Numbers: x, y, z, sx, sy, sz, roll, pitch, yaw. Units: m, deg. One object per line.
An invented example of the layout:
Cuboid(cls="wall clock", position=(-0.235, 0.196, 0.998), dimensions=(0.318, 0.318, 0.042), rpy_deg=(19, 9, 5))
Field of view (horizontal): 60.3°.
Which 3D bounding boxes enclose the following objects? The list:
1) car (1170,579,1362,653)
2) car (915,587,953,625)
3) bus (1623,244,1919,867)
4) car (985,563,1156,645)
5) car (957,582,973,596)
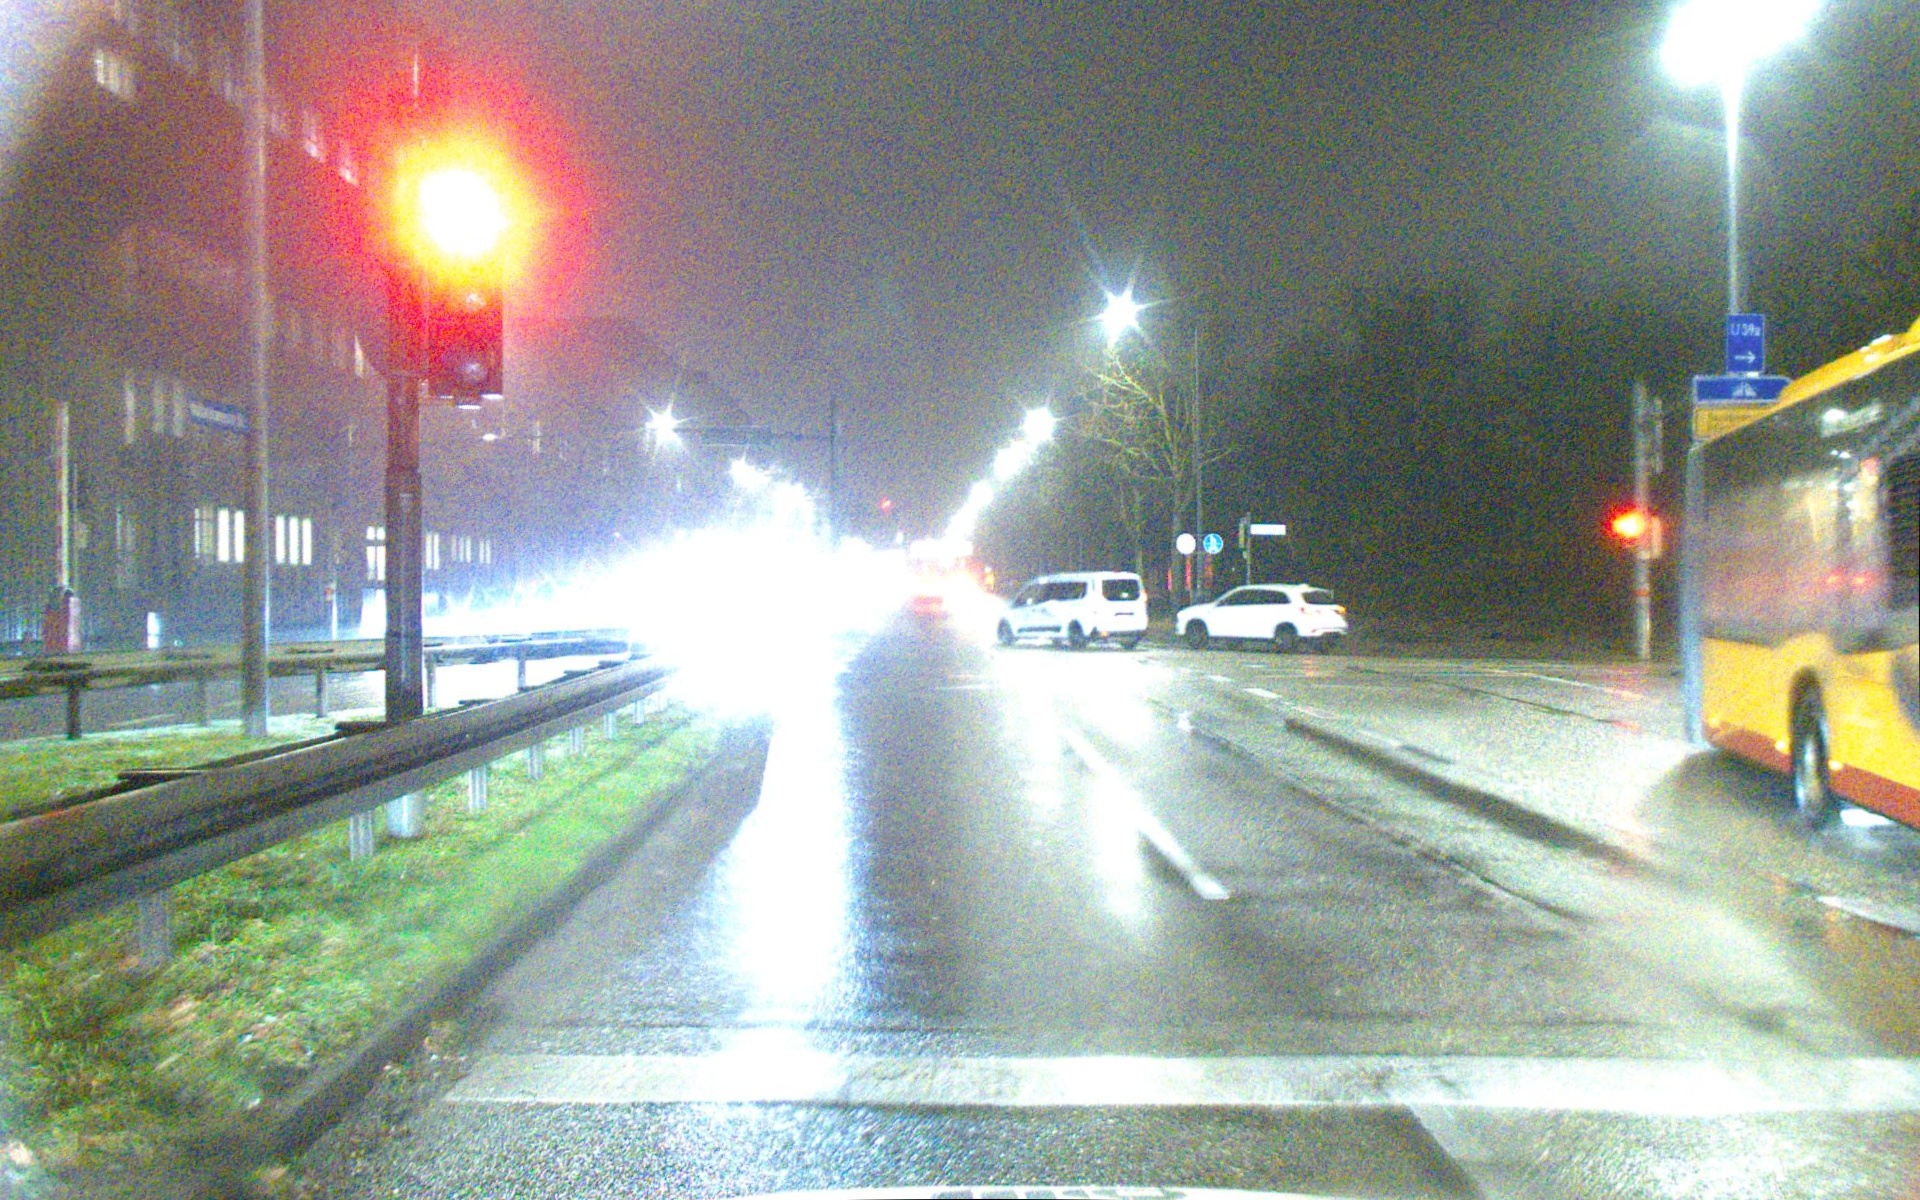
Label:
Cuboid(cls="car", position=(7.394, 0.359, 40.219), dimensions=(4.351, 1.708, 1.785), rpy_deg=(1, 0, 43))
Cuboid(cls="car", position=(-1.612, 0.368, 100.355), dimensions=(2.092, 2.182, 4.925), rpy_deg=(1, 0, -3))
Cuboid(cls="bus", position=(7.055, -0.231, 11.850), dimensions=(2.710, 3.178, 9.770), rpy_deg=(1, 0, 13))
Cuboid(cls="car", position=(2.671, 0.098, 40.961), dimensions=(1.775, 1.907, 4.571), rpy_deg=(1, 0, -34))
Cuboid(cls="car", position=(0.680, -1.517, 221.036), dimensions=(1.953, 1.790, 3.999), rpy_deg=(1, 0, -1))
